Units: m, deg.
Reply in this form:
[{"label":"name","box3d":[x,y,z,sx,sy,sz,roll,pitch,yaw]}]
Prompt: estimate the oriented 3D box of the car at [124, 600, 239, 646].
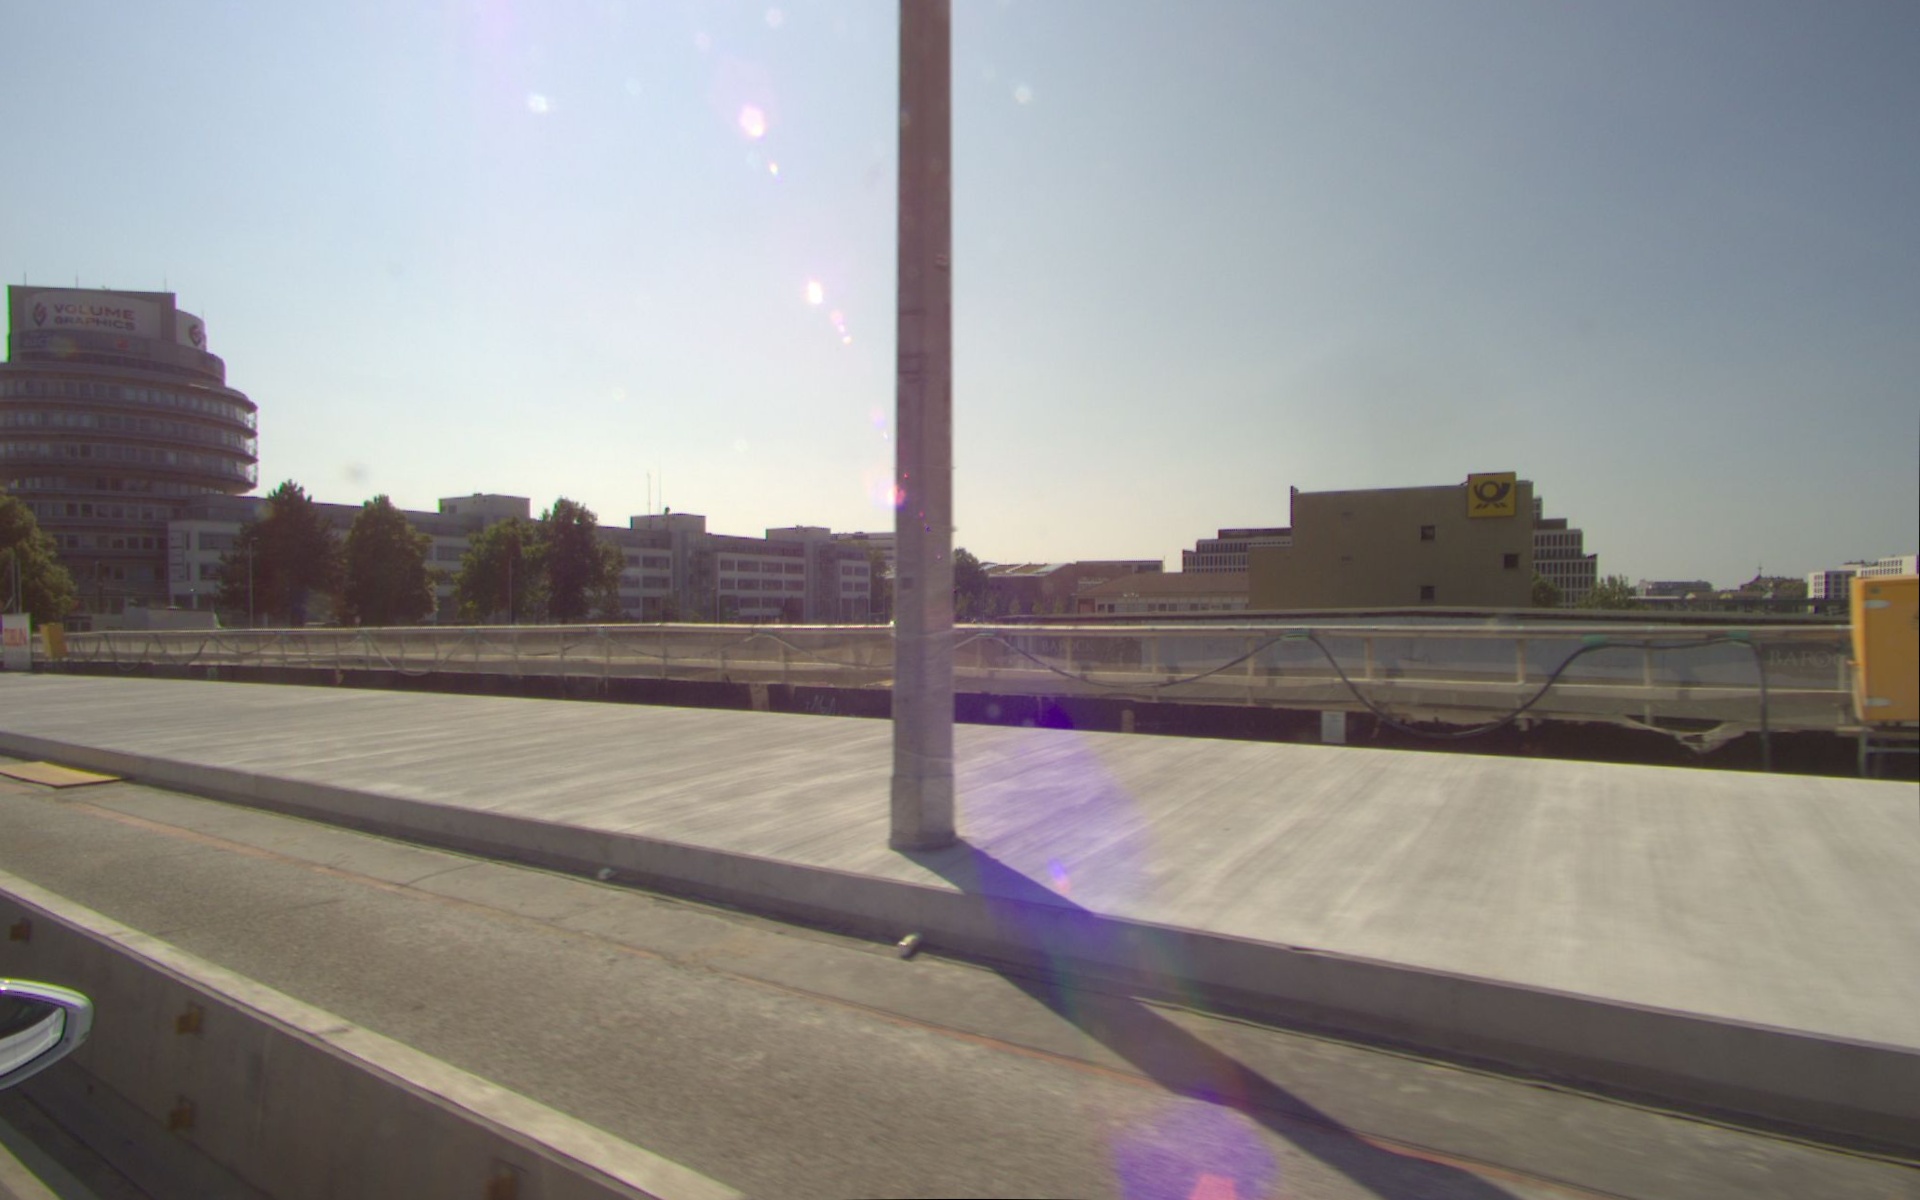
[{"label":"car","box3d":[-52.615,1.567,67.878,2.303,2.924,5.965,1,-1,15]}]
